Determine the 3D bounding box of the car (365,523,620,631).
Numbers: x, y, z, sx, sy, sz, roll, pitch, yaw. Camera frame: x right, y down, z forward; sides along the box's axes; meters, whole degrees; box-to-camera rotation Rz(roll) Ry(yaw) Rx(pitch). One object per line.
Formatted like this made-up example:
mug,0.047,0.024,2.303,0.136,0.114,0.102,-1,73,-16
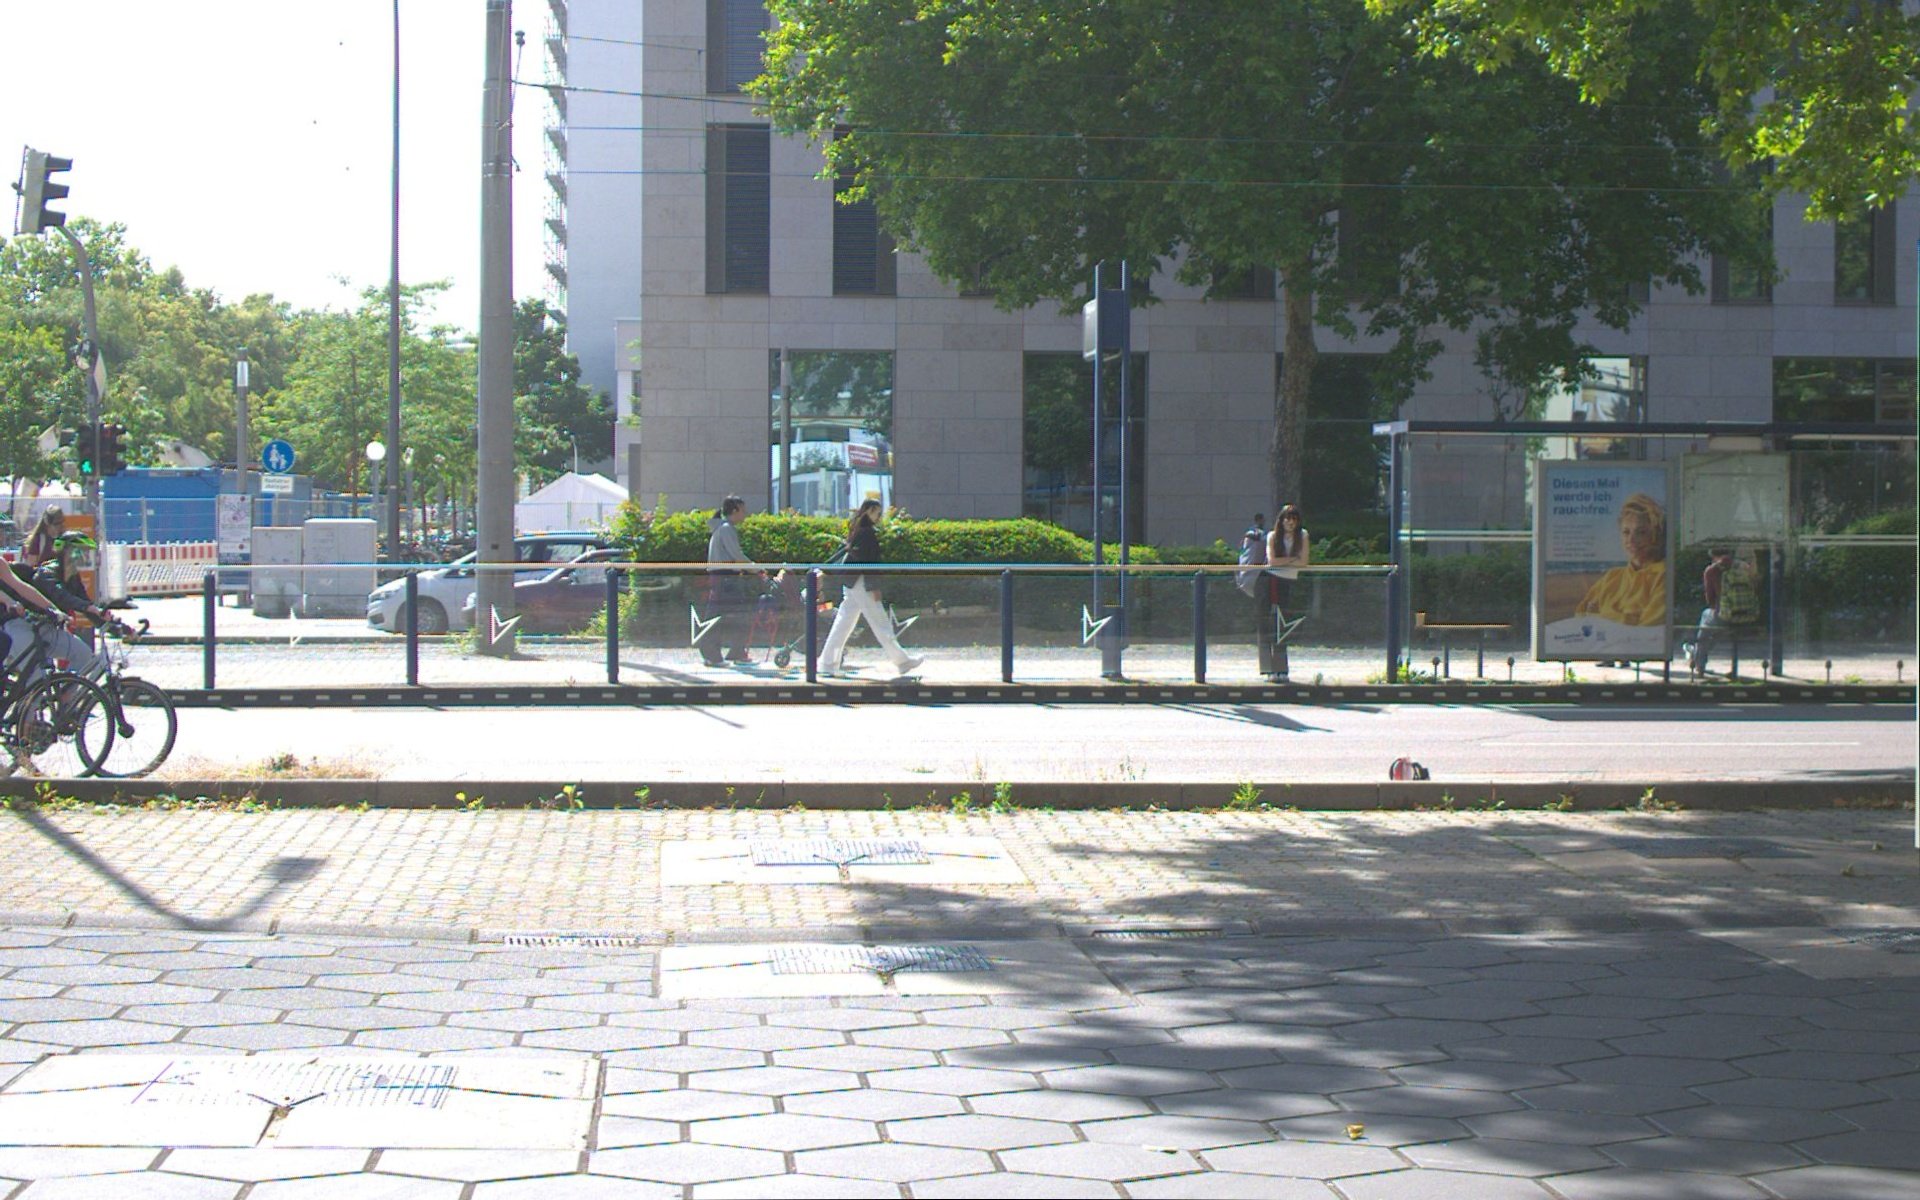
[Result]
car,-6.935,-0.344,50.890,3.681,1.546,1.592,0,1,-10

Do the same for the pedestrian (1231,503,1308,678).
pedestrian,2.863,-0.092,31.830,0.584,1.586,0.670,0,3,-5

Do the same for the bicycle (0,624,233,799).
bicycle,-5.747,0.725,22.777,1.863,1.078,0.524,1,1,24

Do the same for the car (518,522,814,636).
car,-4.132,-0.307,48.076,3.986,1.546,1.704,0,1,-10

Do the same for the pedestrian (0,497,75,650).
pedestrian,-9.353,-0.270,34.774,0.650,1.535,0.503,1,1,5

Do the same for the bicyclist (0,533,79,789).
bicyclist,-6.261,0.365,21.741,1.170,1.575,0.639,1,1,17

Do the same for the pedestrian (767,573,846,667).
pedestrian,-1.467,0.191,32.860,0.690,0.877,0.503,1,1,4

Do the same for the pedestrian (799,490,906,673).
pedestrian,-0.996,-0.175,31.841,0.932,1.677,0.503,1,1,5

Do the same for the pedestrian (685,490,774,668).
pedestrian,-2.199,-0.206,32.912,0.777,1.677,0.503,1,1,5

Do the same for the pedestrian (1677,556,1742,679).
pedestrian,7.043,0.159,32.307,0.499,1.134,0.524,1,1,2

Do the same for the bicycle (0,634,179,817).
bicycle,-5.992,0.769,21.668,2.021,1.078,0.639,1,1,16

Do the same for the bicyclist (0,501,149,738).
bicyclist,-5.904,0.118,22.797,0.864,1.538,0.534,1,1,23
